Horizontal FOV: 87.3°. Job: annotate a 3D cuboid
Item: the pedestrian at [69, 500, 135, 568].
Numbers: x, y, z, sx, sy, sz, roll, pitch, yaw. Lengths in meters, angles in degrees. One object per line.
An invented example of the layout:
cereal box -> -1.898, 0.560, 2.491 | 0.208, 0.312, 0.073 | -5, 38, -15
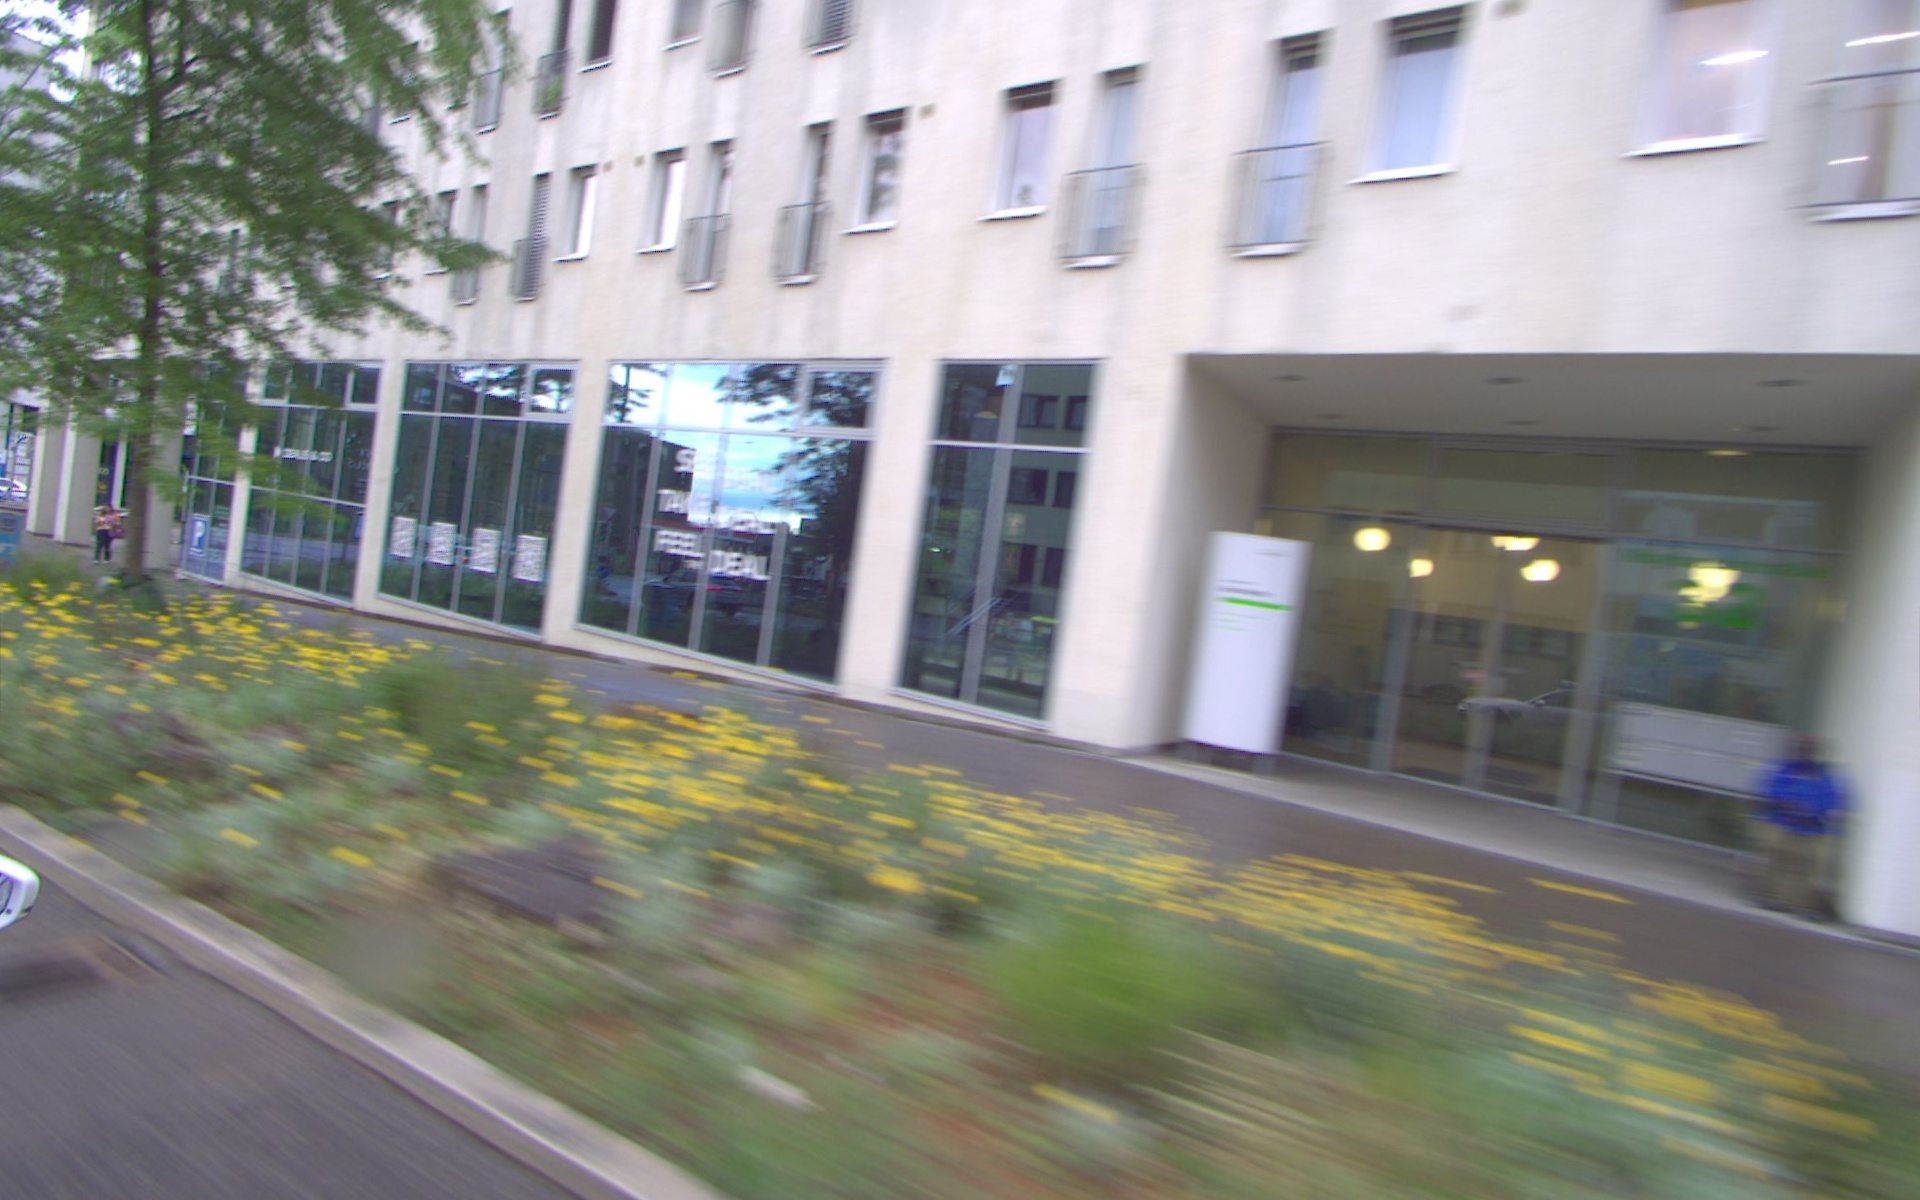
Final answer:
pedestrian -> -24.115, -1.824, 28.299 | 0.862, 1.732, 1.084 | 9, -1, -17

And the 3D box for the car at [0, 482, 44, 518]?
car -> -46.428, -4.992, 47.025 | 1.792, 1.404, 4.957 | 8, 0, 29

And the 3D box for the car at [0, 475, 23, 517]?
car -> -41.413, -4.577, 41.107 | 1.963, 1.593, 4.001 | 9, 0, 19
